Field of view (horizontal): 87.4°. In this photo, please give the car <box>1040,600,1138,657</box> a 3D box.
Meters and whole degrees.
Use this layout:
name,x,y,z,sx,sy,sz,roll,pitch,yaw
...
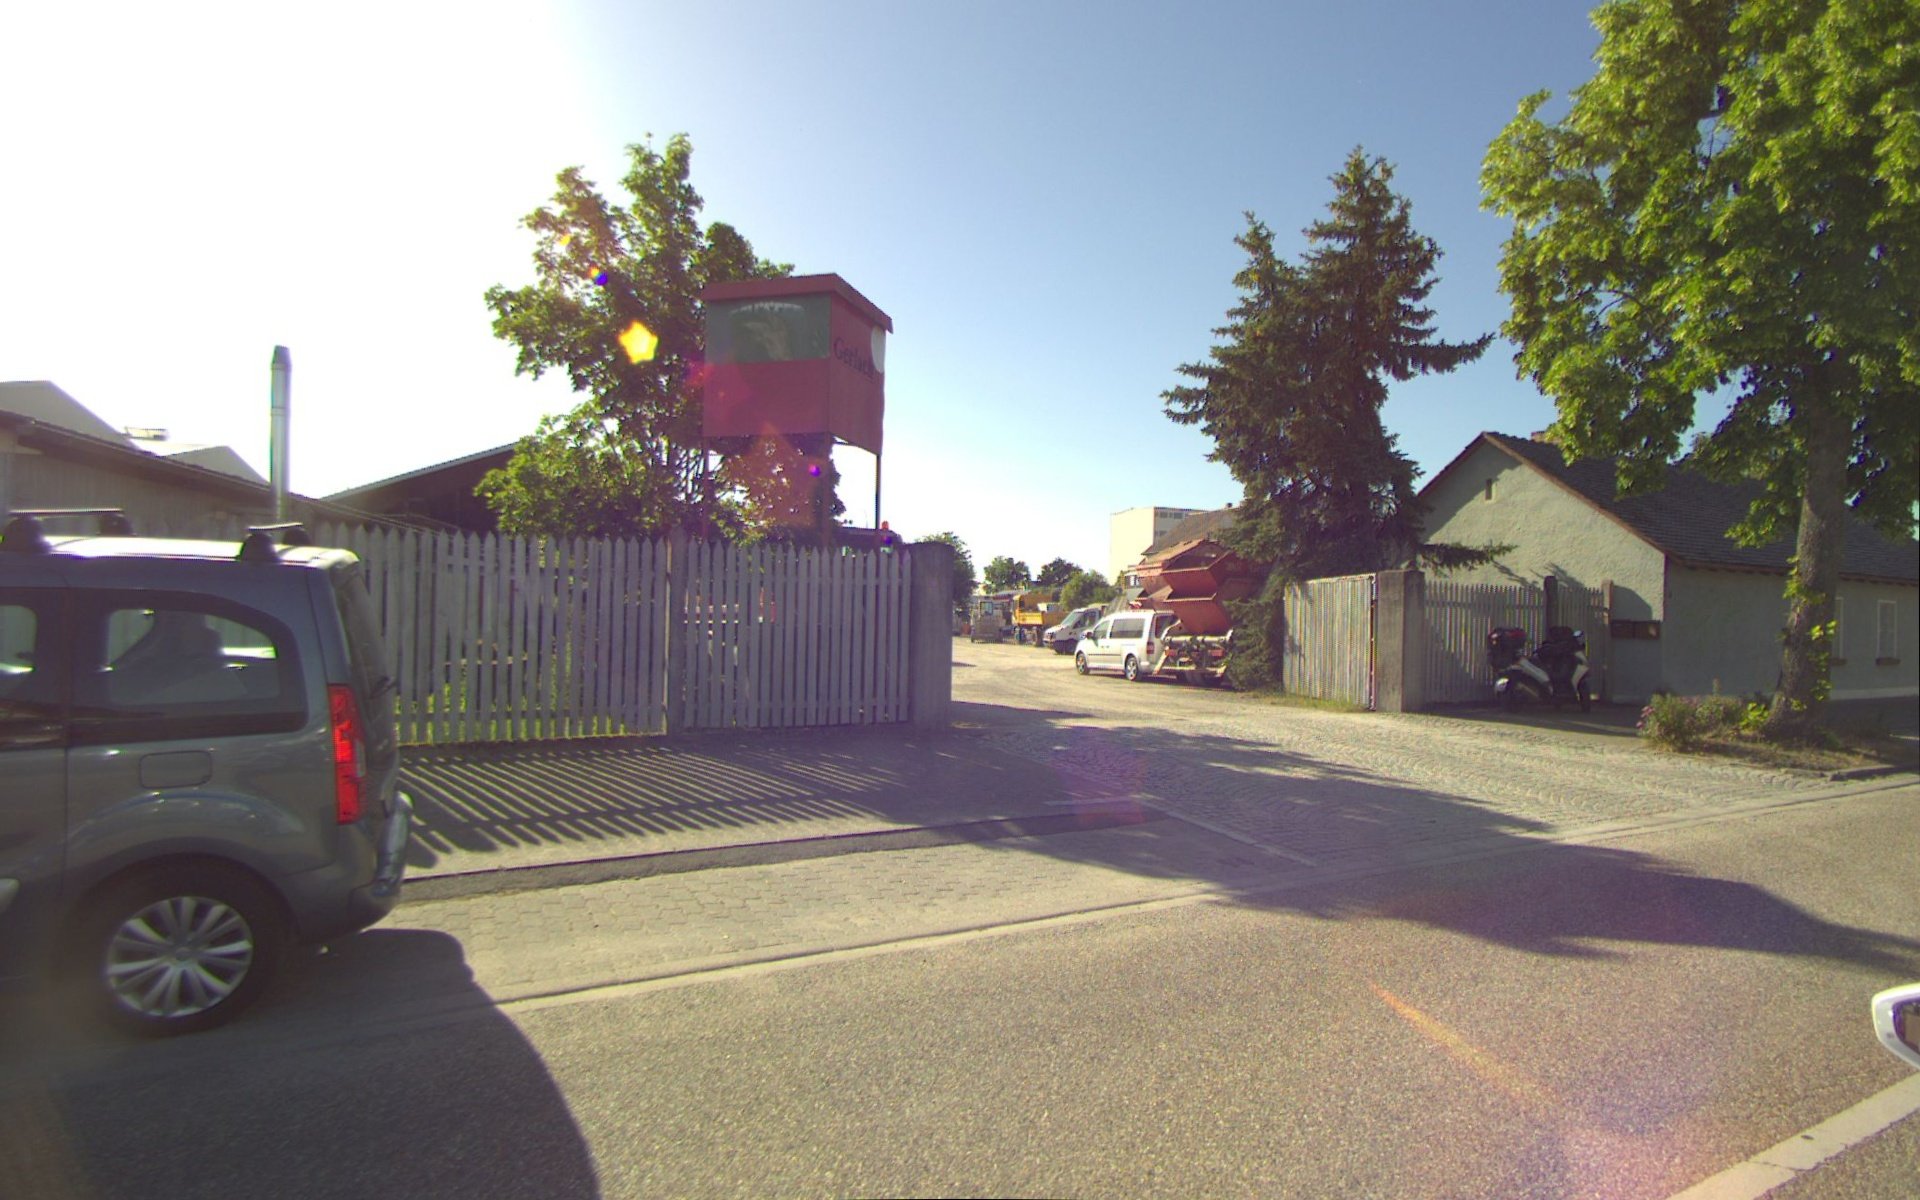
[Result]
name,x,y,z,sx,sy,sz,roll,pitch,yaw
car,6.302,1.384,49.203,4.394,2.634,1.914,1,-1,-8

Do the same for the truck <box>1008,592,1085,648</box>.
name,x,y,z,sx,sy,sz,roll,pitch,yaw
truck,5.145,1.187,61.055,2.689,3.199,7.249,1,-1,-11

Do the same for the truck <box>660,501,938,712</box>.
name,x,y,z,sx,sy,sz,roll,pitch,yaw
truck,-3.548,0.141,20.033,2.870,3.384,7.372,2,-1,-31

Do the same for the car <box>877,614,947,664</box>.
name,x,y,z,sx,sy,sz,roll,pitch,yaw
car,-1.904,1.464,38.413,1.828,1.795,3.987,1,-1,-16

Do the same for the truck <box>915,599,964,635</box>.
name,x,y,z,sx,sy,sz,roll,pitch,yaw
truck,-1.721,1.400,82.573,2.213,2.869,5.723,1,-1,-21

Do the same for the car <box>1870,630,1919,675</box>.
name,x,y,z,sx,sy,sz,roll,pitch,yaw
car,34.729,1.873,34.822,1.966,1.528,4.347,1,-1,-14

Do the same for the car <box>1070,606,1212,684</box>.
name,x,y,z,sx,sy,sz,roll,pitch,yaw
car,4.873,1.163,27.678,1.887,1.960,4.456,1,-1,-19

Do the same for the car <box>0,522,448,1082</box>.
name,x,y,z,sx,sy,sz,roll,pitch,yaw
car,-4.480,0.627,3.686,4.554,1.874,1.769,1,1,-26

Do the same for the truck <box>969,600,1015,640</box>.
name,x,y,z,sx,sy,sz,roll,pitch,yaw
truck,2.336,1.461,75.298,2.207,2.869,5.738,1,-1,-11

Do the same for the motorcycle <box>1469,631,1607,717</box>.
name,x,y,z,sx,sy,sz,roll,pitch,yaw
motorcycle,9.234,1.154,16.012,2.509,1.250,0.696,1,2,-30

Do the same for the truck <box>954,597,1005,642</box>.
name,x,y,z,sx,sy,sz,roll,pitch,yaw
truck,1.248,1.286,67.240,2.207,2.869,5.738,1,-1,-11
